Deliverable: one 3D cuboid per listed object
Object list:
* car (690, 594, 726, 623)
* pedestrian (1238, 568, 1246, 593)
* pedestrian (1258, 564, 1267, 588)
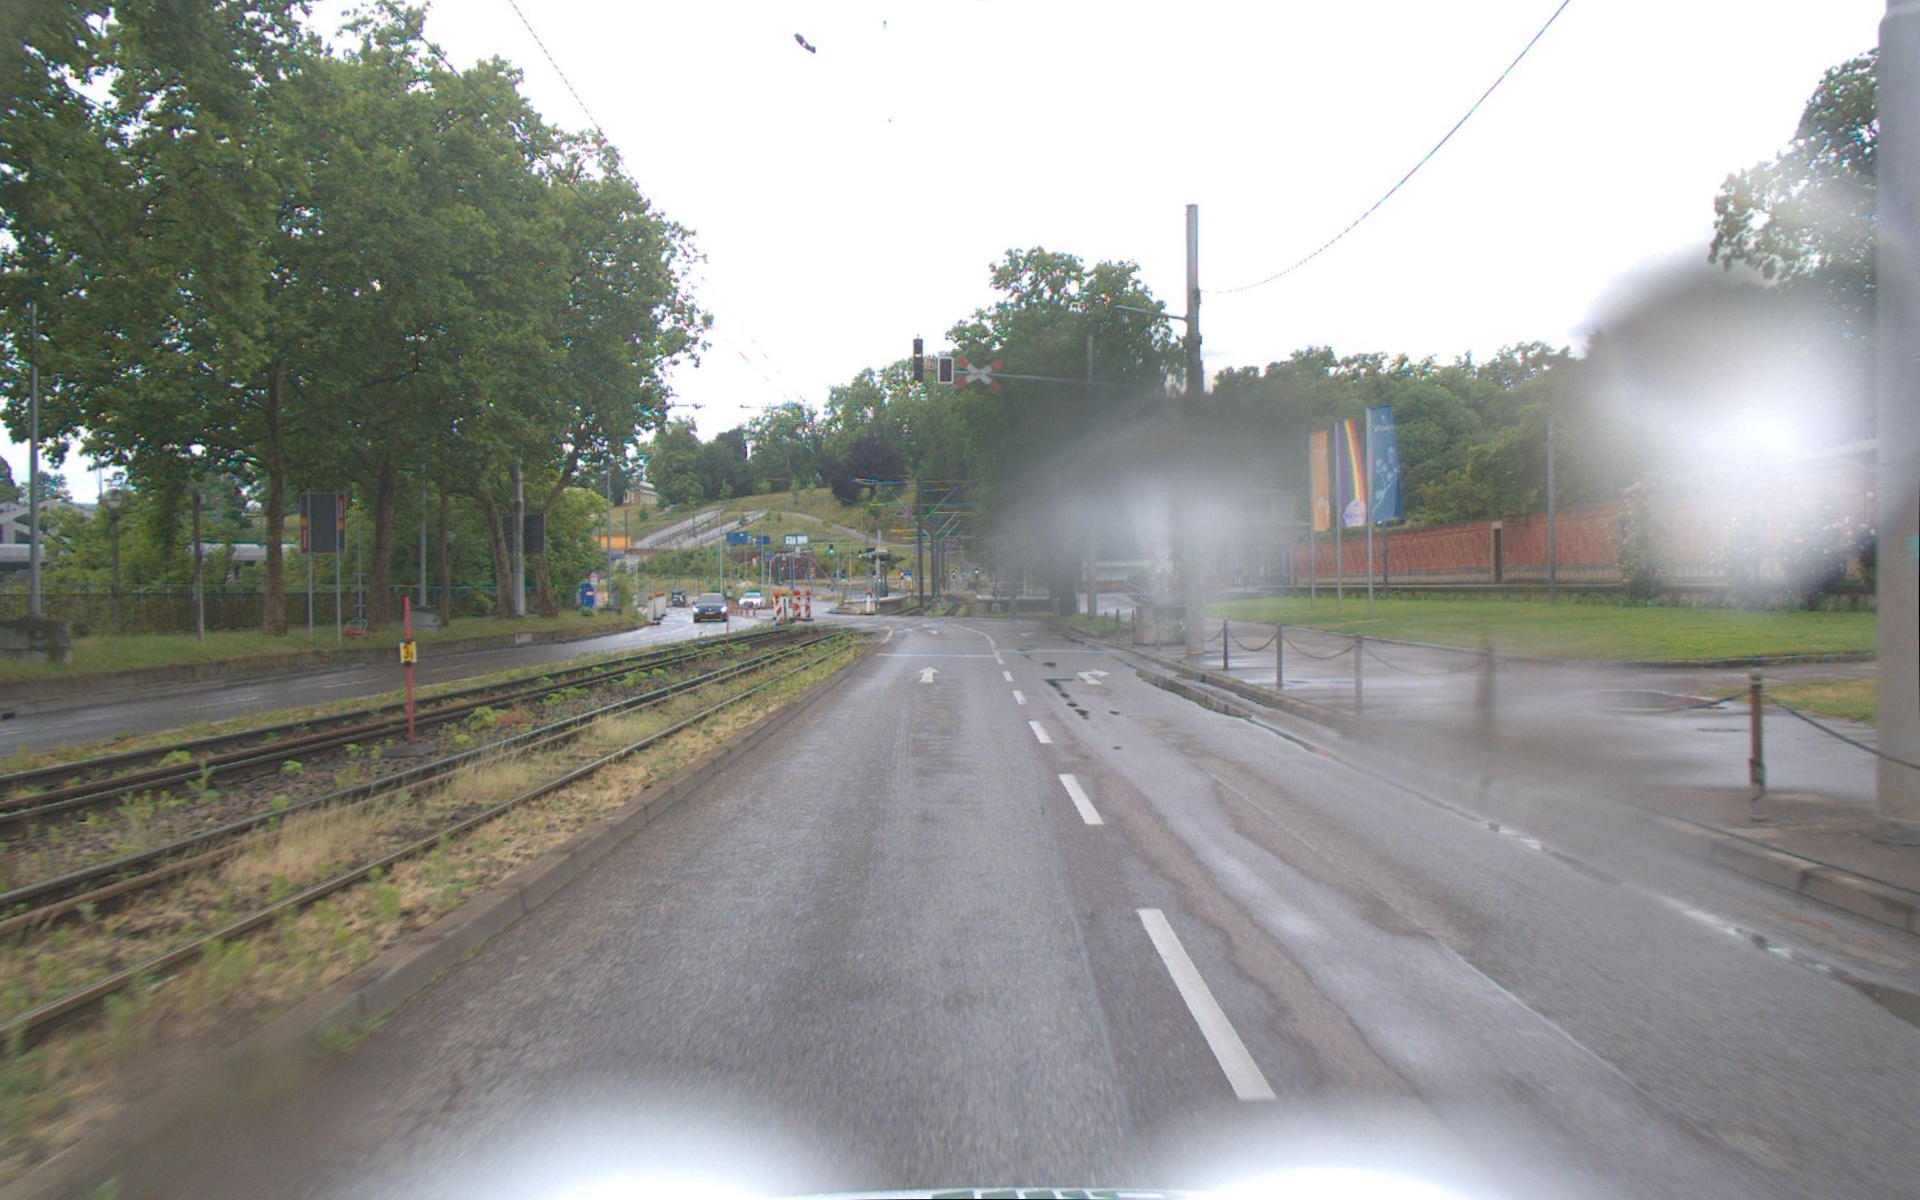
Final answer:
[{"bbox_3d":[-13.314,0.439,87.579,1.714,1.455,4.552,-2,0,-8],"label":"car"},{"bbox_3d":[20.772,-1.438,121.978,0.520,1.741,0.696,1,-2,12],"label":"pedestrian"},{"bbox_3d":[22.091,-1.747,120.863,0.540,1.686,0.468,-1,-1,35],"label":"pedestrian"}]
